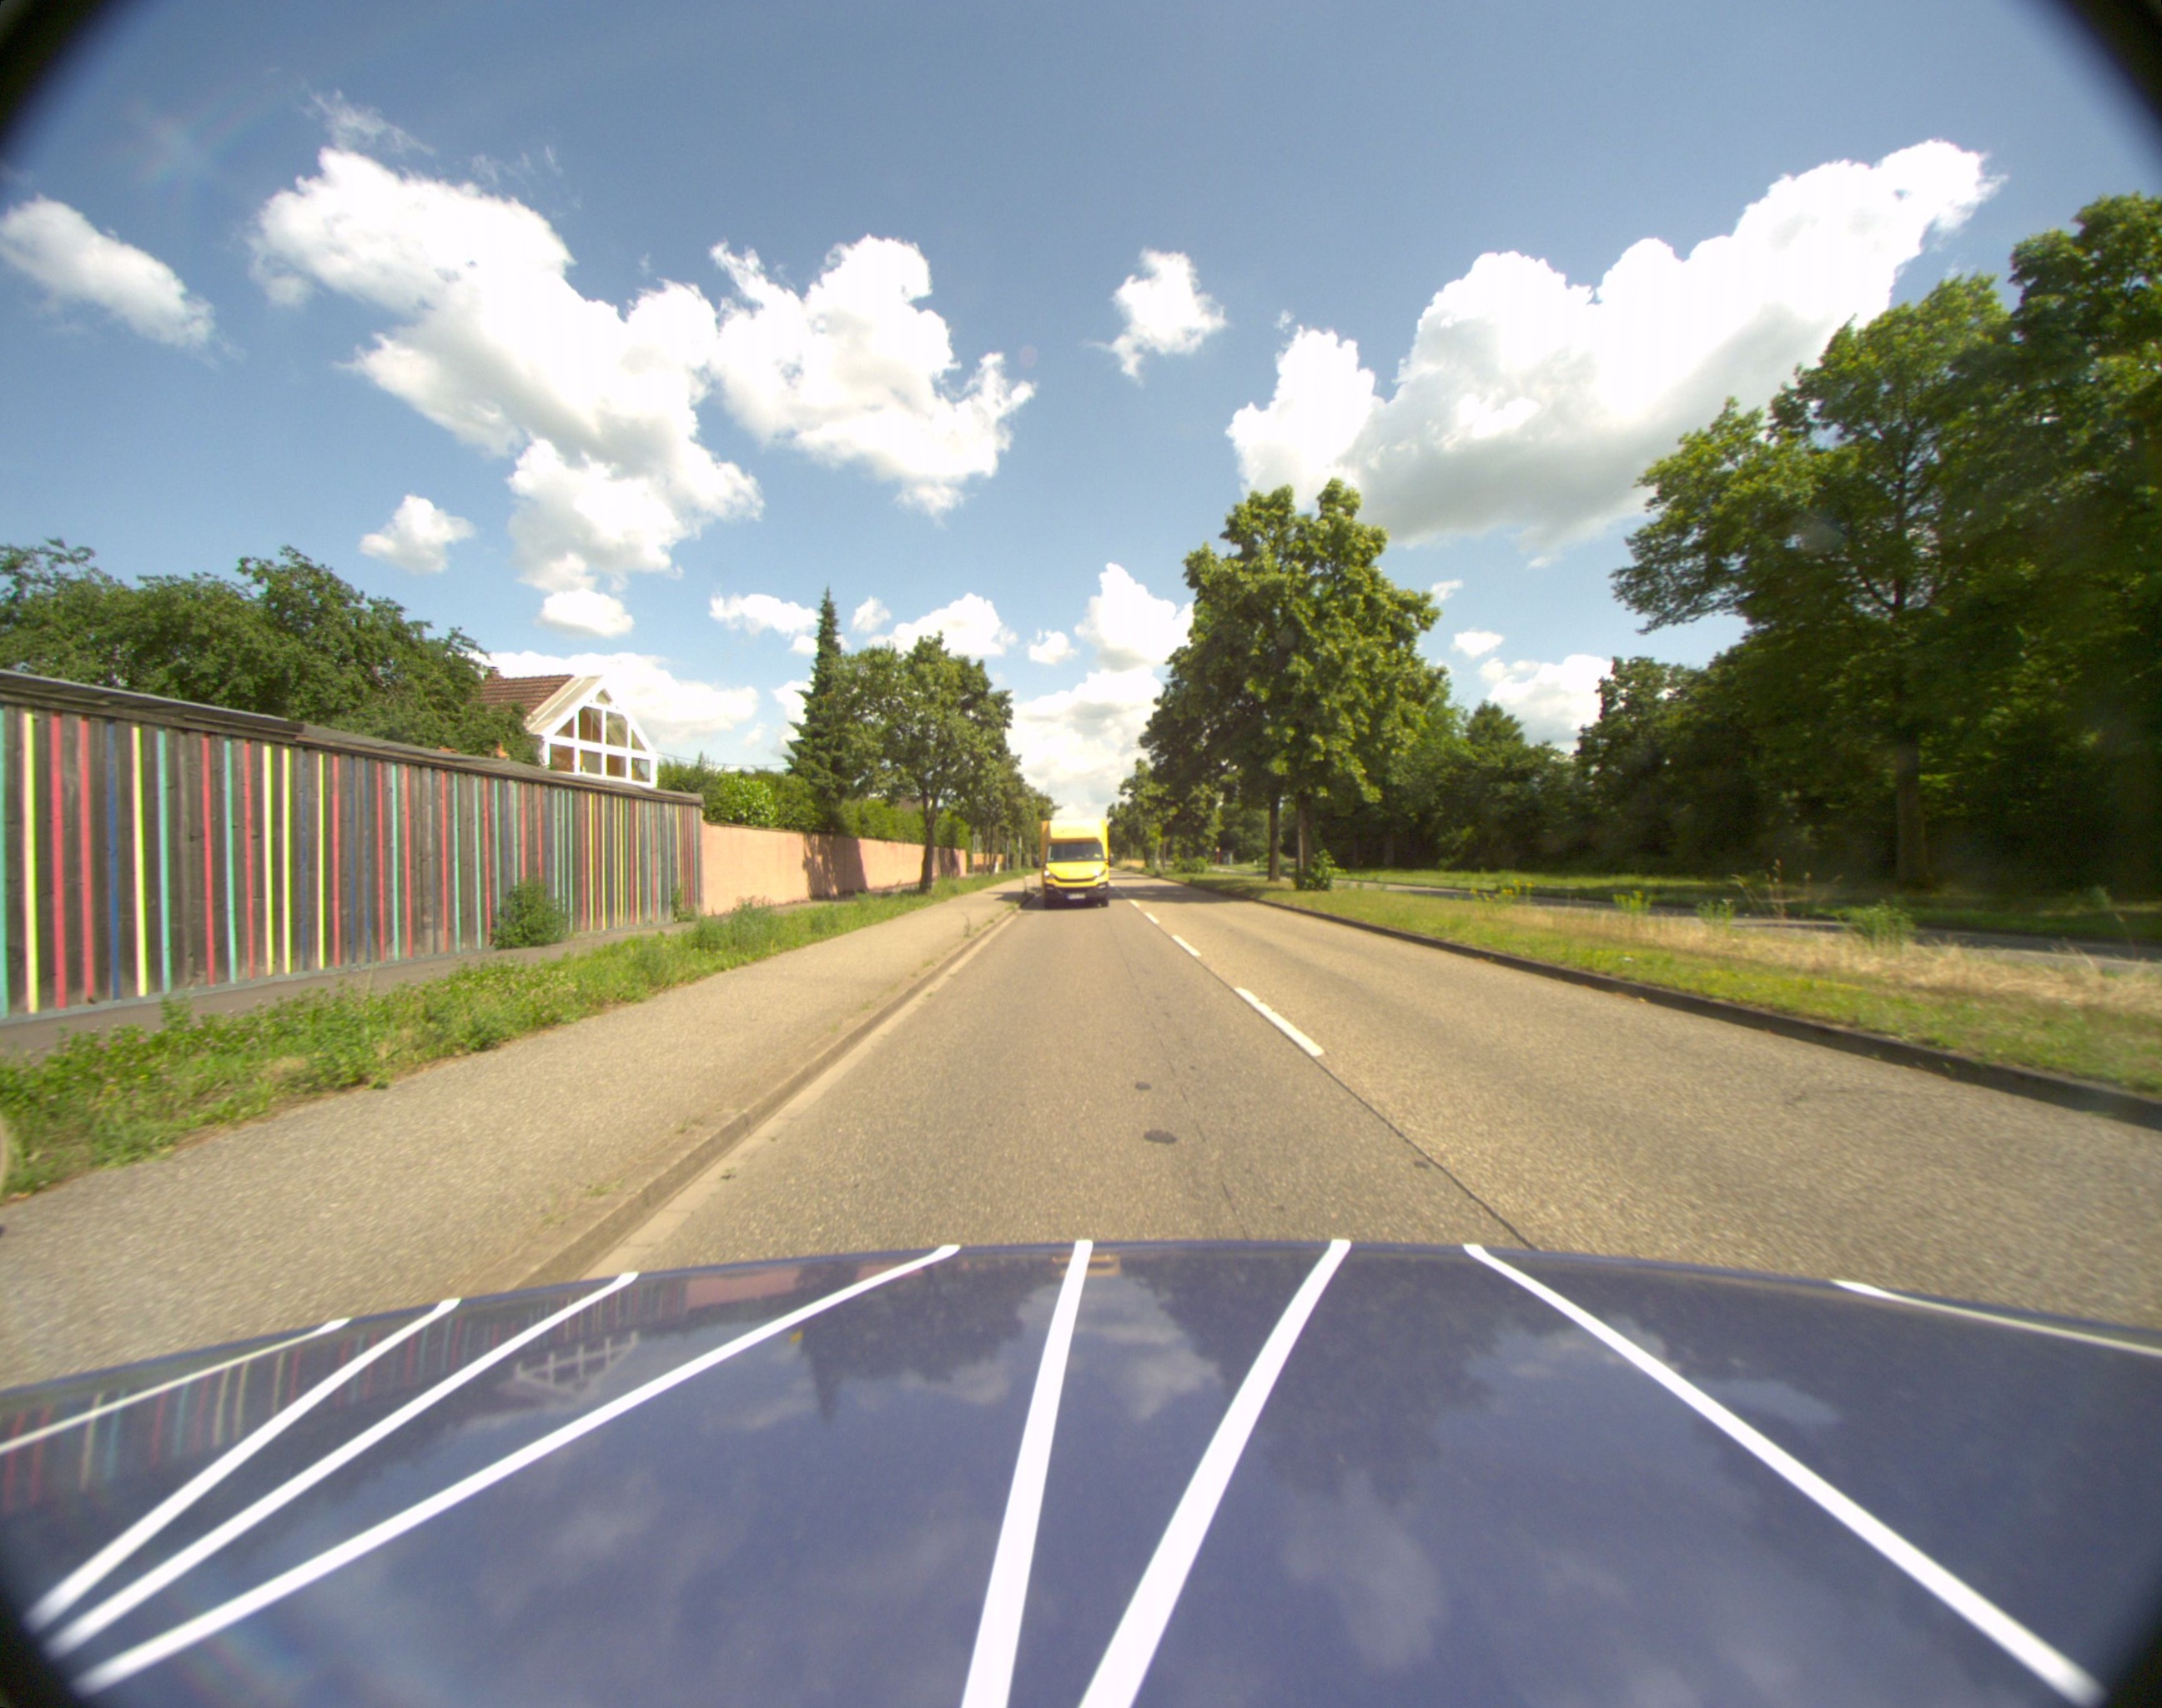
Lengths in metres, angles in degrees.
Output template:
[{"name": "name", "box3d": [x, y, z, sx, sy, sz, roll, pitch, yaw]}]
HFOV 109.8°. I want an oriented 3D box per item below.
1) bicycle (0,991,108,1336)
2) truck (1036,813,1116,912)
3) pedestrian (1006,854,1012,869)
[{"name": "bicycle", "box3d": [-3.831, 1.024, 1.580, 0.647, 1.061, 2.278, 2, 0, 1]}, {"name": "truck", "box3d": [-0.156, 0.241, 26.447, 2.270, 2.864, 8.027, -2, 0, 0]}, {"name": "pedestrian", "box3d": [-8.128, 0.810, 85.846, 0.561, 1.667, 0.634, -1, 0, 0]}]
